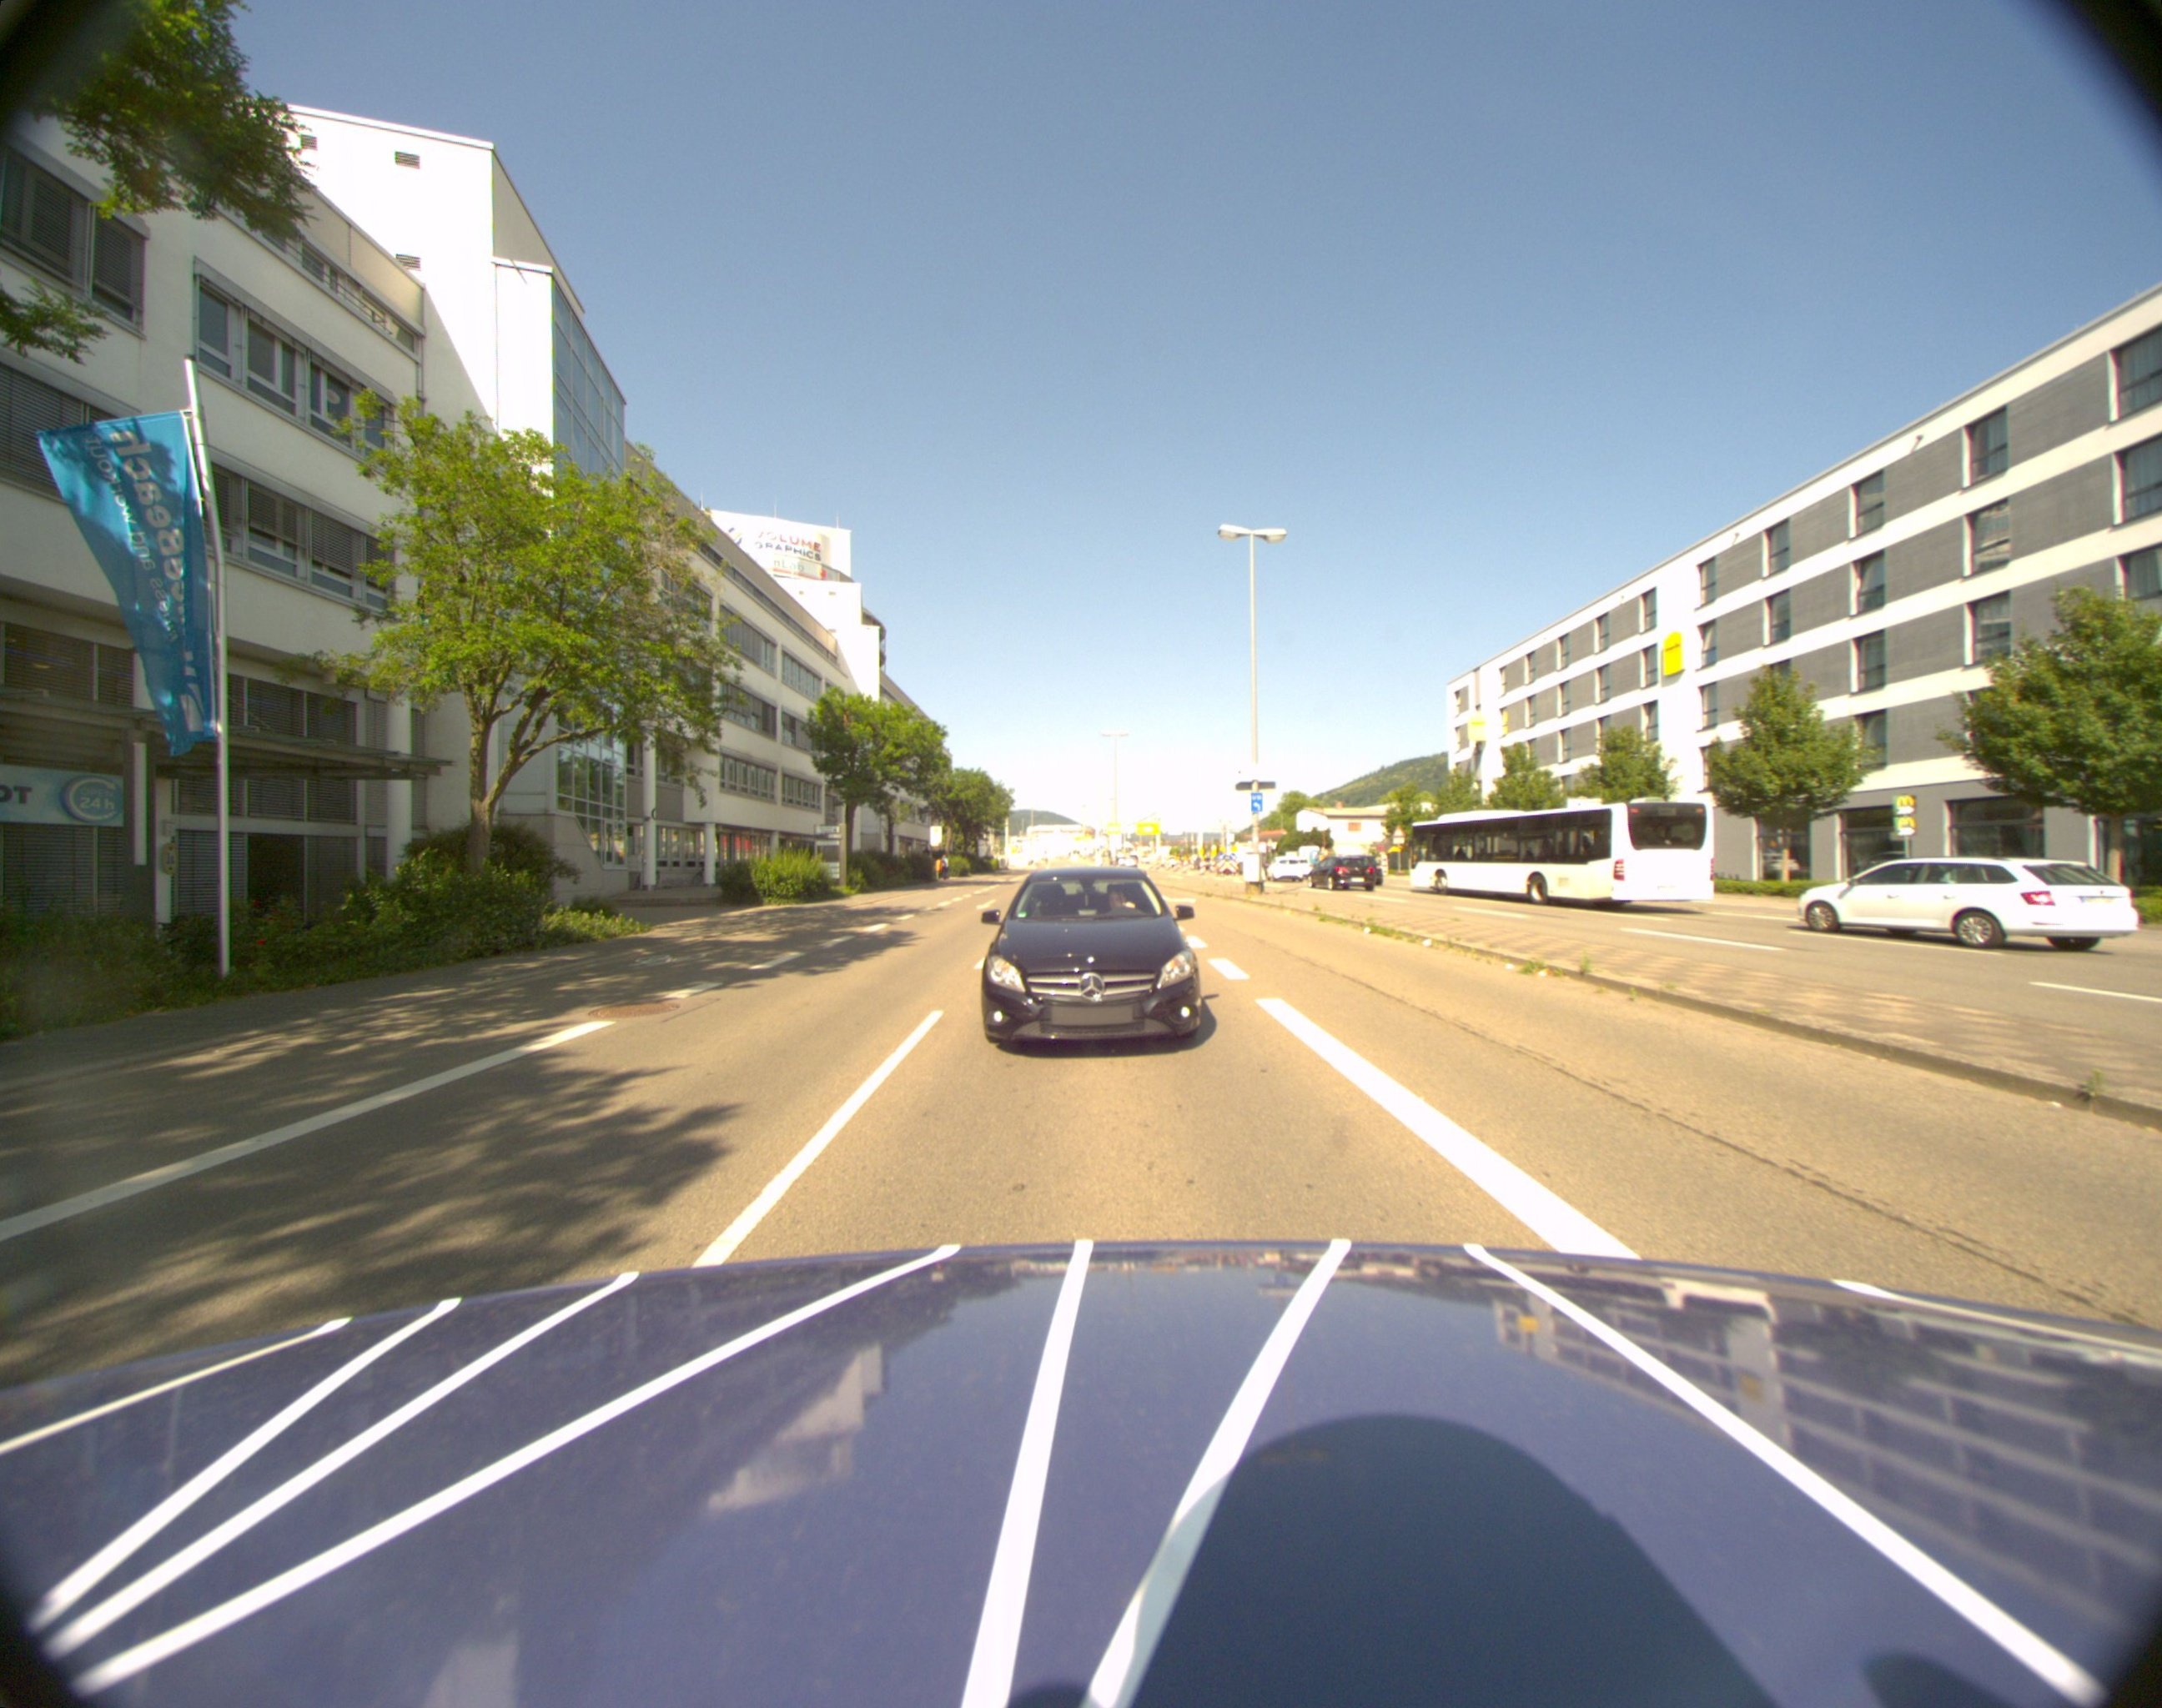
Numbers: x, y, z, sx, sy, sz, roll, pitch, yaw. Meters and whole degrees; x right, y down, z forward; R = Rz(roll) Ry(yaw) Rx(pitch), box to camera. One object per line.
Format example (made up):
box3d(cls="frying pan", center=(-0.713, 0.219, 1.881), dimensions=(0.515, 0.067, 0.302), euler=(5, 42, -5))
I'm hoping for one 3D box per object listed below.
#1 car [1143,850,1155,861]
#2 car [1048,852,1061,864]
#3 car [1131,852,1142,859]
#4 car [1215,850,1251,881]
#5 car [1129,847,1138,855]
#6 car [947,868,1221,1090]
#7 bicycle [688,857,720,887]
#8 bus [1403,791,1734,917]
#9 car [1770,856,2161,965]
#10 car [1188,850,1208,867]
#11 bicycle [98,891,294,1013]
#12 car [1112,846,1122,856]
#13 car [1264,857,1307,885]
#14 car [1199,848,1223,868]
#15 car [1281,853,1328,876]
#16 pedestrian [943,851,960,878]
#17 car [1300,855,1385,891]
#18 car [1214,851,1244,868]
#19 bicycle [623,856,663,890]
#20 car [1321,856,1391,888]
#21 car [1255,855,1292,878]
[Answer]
box3d(cls="car", center=(12.804, 0.224, 143.250), dimensions=(1.999, 2.002, 3.999), euler=(0, 0, -1))
box3d(cls="car", center=(-4.579, 0.674, 132.134), dimensions=(1.998, 2.002, 4.000), euler=(-2, 1, 2))
box3d(cls="car", center=(11.647, 0.321, 158.491), dimensions=(1.815, 1.328, 3.937), euler=(-1, 0, -3))
box3d(cls="car", center=(10.703, 0.739, 53.807), dimensions=(1.679, 2.002, 4.164), euler=(-2, 1, 1))
box3d(cls="car", center=(12.398, -0.725, 179.490), dimensions=(1.998, 1.725, 4.002), euler=(-1, 0, 6))
box3d(cls="car", center=(0.047, 0.926, 7.682), dimensions=(1.905, 1.431, 4.693), euler=(-1, 0, 1))
box3d(cls="bicycle", center=(-17.721, 0.811, 35.748), dimensions=(0.506, 1.346, 1.884), euler=(-1, 0, 1))
box3d(cls="bus", center=(14.614, -0.023, 24.796), dimensions=(2.745, 3.061, 11.972), euler=(1, 0, -2))
box3d(cls="car", center=(15.086, 0.832, 13.174), dimensions=(1.999, 1.477, 4.410), euler=(2, 1, -5))
box3d(cls="car", center=(15.162, 0.551, 98.510), dimensions=(1.998, 2.002, 3.999), euler=(-2, 1, 1))
box3d(cls="bicycle", center=(-11.264, 1.184, 9.780), dimensions=(0.506, 1.321, 1.883), euler=(0, 0, -8))
box3d(cls="car", center=(7.667, -0.579, 162.416), dimensions=(1.998, 2.002, 3.999), euler=(-2, 1, 1))
box3d(cls="car", center=(11.929, 0.951, 44.567), dimensions=(1.763, 1.443, 4.001), euler=(-2, 1, 5))
box3d(cls="car", center=(14.114, 0.455, 82.706), dimensions=(1.998, 2.002, 4.000), euler=(-2, 1, 3))
box3d(cls="car", center=(14.904, 0.685, 50.913), dimensions=(1.858, 1.530, 3.977), euler=(0, 0, -2))
box3d(cls="pedestrian", center=(-9.183, 0.752, 53.920), dimensions=(0.942, 1.875, 1.289), euler=(2, 1, 0))
box3d(cls="car", center=(11.251, 0.762, 33.120), dimensions=(1.998, 1.424, 4.890), euler=(-1, 0, 0))
box3d(cls="car", center=(14.460, 0.525, 74.629), dimensions=(1.998, 1.514, 4.891), euler=(-1, 0, 1))
box3d(cls="bicycle", center=(-18.061, 0.763, 31.350), dimensions=(0.506, 1.346, 1.884), euler=(-1, 0, 1))
box3d(cls="car", center=(14.544, 0.918, 40.510), dimensions=(1.998, 1.514, 4.891), euler=(-1, 0, 1))
box3d(cls="car", center=(14.174, 0.888, 56.104), dimensions=(1.718, 1.609, 3.591), euler=(-1, 0, -1))
